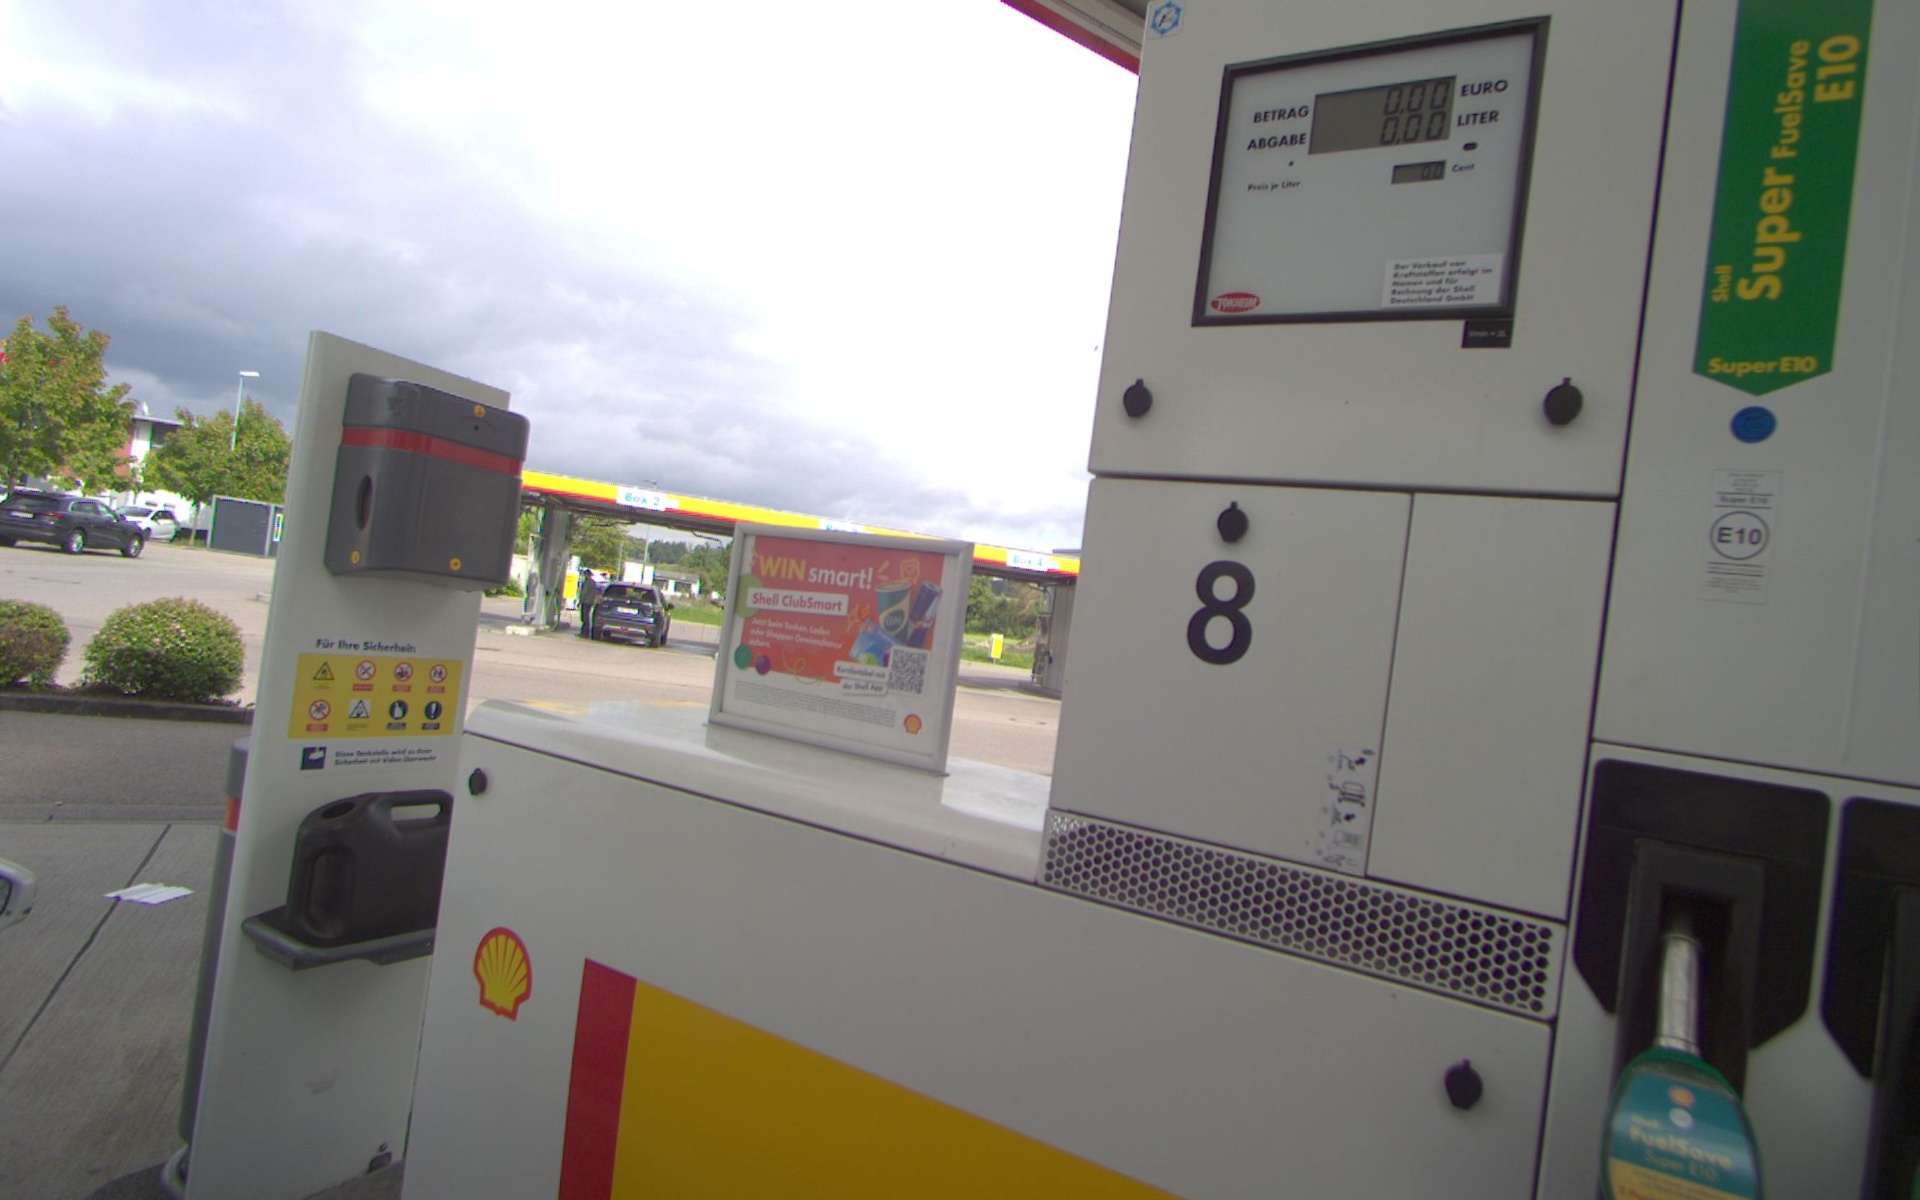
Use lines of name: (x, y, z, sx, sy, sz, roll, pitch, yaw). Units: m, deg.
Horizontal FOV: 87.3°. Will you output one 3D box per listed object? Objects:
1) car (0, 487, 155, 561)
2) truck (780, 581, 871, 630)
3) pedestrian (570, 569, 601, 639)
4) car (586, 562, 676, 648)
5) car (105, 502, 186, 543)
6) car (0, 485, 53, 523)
car: (-25.930, -2.171, 29.257, 1.855, 1.566, 4.498, 8, -2, -10)
truck: (-13.021, 0.564, 97.504, 7.978, 3.575, 2.687, 8, -2, -19)
pedestrian: (-9.700, 0.097, 26.044, 0.550, 1.742, 0.526, 7, -1, -21)
car: (-8.699, 0.149, 26.859, 1.696, 1.919, 3.800, 8, -2, -12)
car: (-35.261, -3.343, 43.642, 1.346, 1.322, 3.098, 8, -2, -12)
car: (-57.362, -5.908, 60.237, 2.149, 1.854, 4.870, 8, -2, -11)
